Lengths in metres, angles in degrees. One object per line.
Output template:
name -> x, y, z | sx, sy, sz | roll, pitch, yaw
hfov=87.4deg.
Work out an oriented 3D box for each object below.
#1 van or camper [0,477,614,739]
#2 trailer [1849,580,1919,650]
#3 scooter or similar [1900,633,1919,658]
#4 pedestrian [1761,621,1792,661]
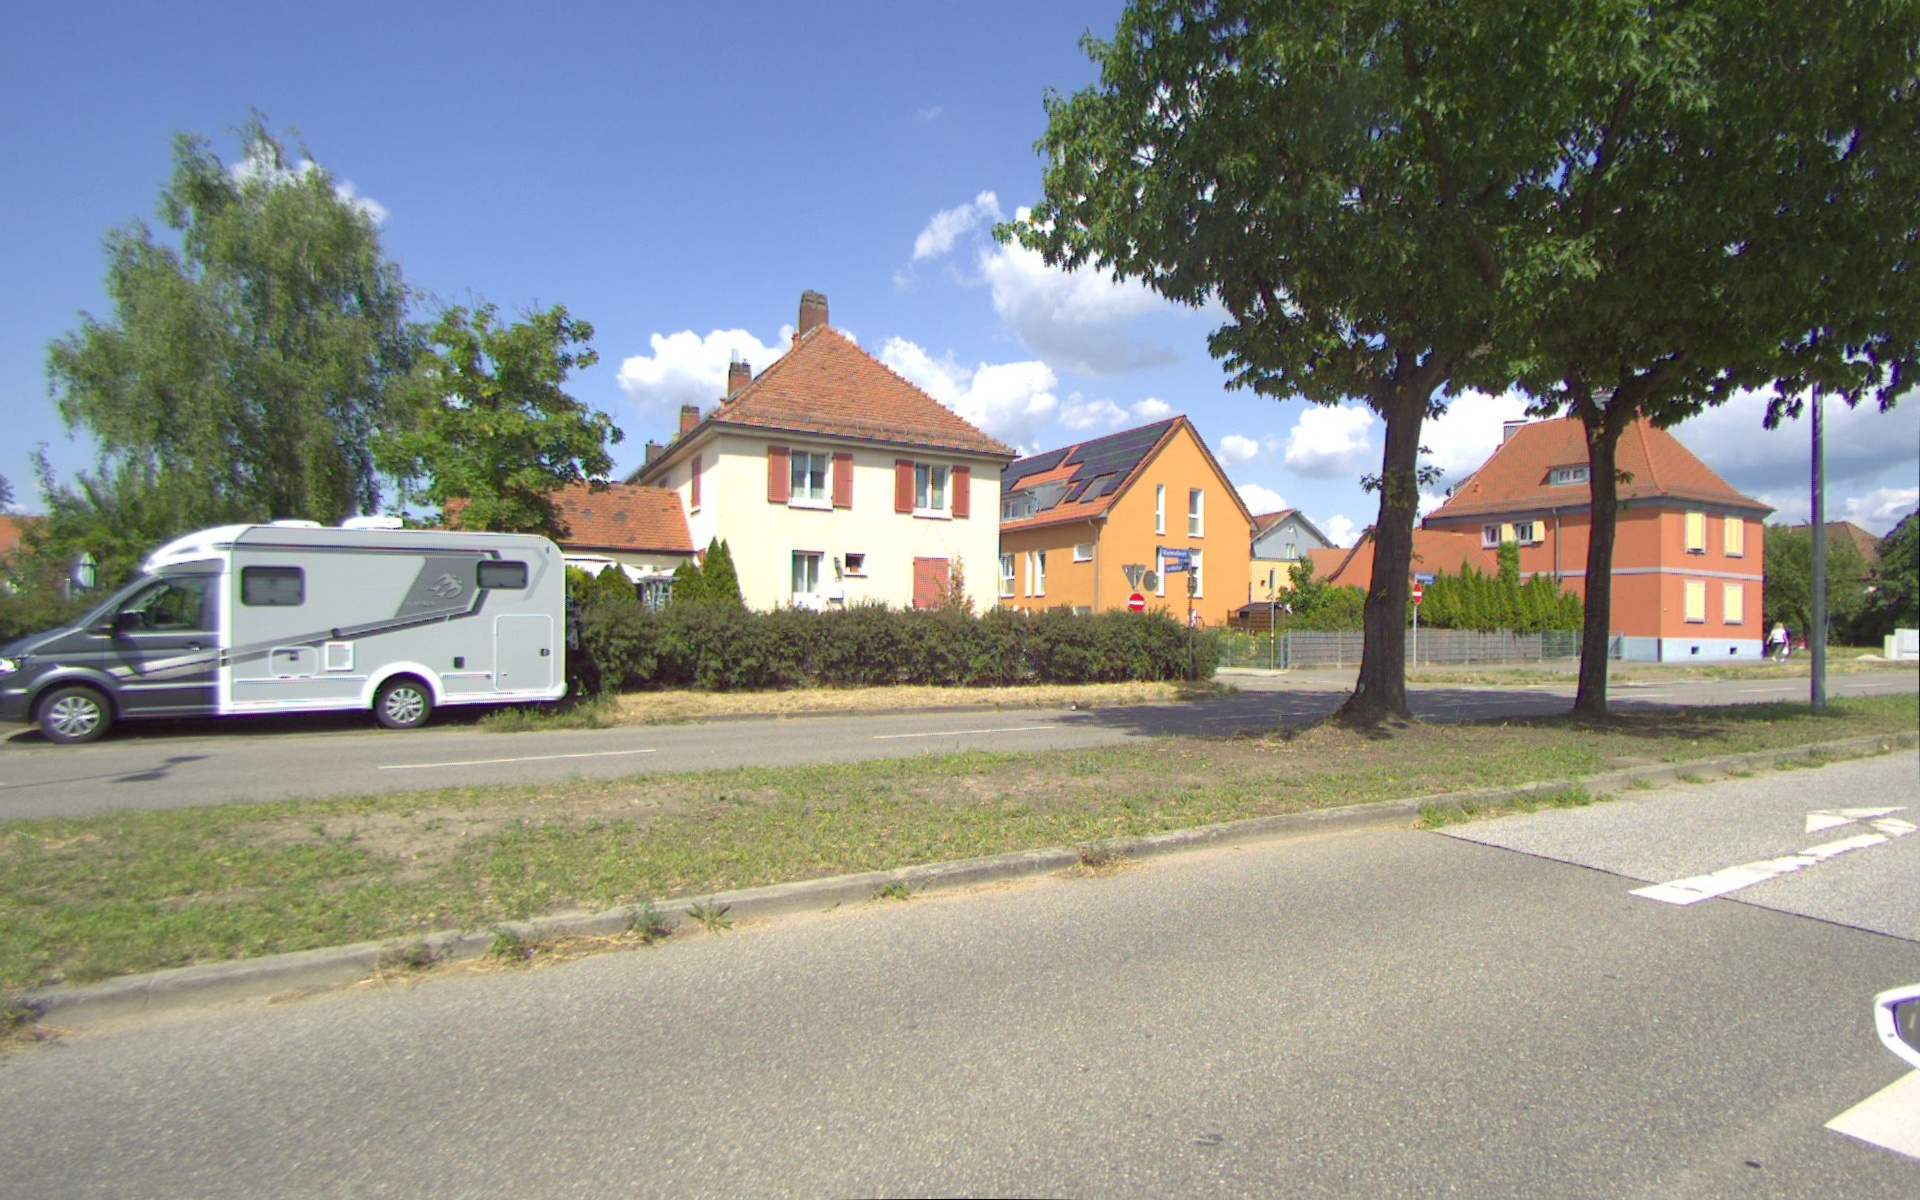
van or camper -> -9.044, 0.133, 14.733 | 7.229, 3.154, 2.249 | 1, 1, -28
trailer -> 58.340, 0.906, 57.065 | 3.586, 4.065, 11.238 | 1, 0, -27
scooter or similar -> 46.984, 2.224, 49.429 | 1.741, 1.179, 0.586 | 2, 0, -30
pedestrian -> 34.047, 1.696, 41.866 | 0.841, 1.604, 0.692 | 2, 0, -30
